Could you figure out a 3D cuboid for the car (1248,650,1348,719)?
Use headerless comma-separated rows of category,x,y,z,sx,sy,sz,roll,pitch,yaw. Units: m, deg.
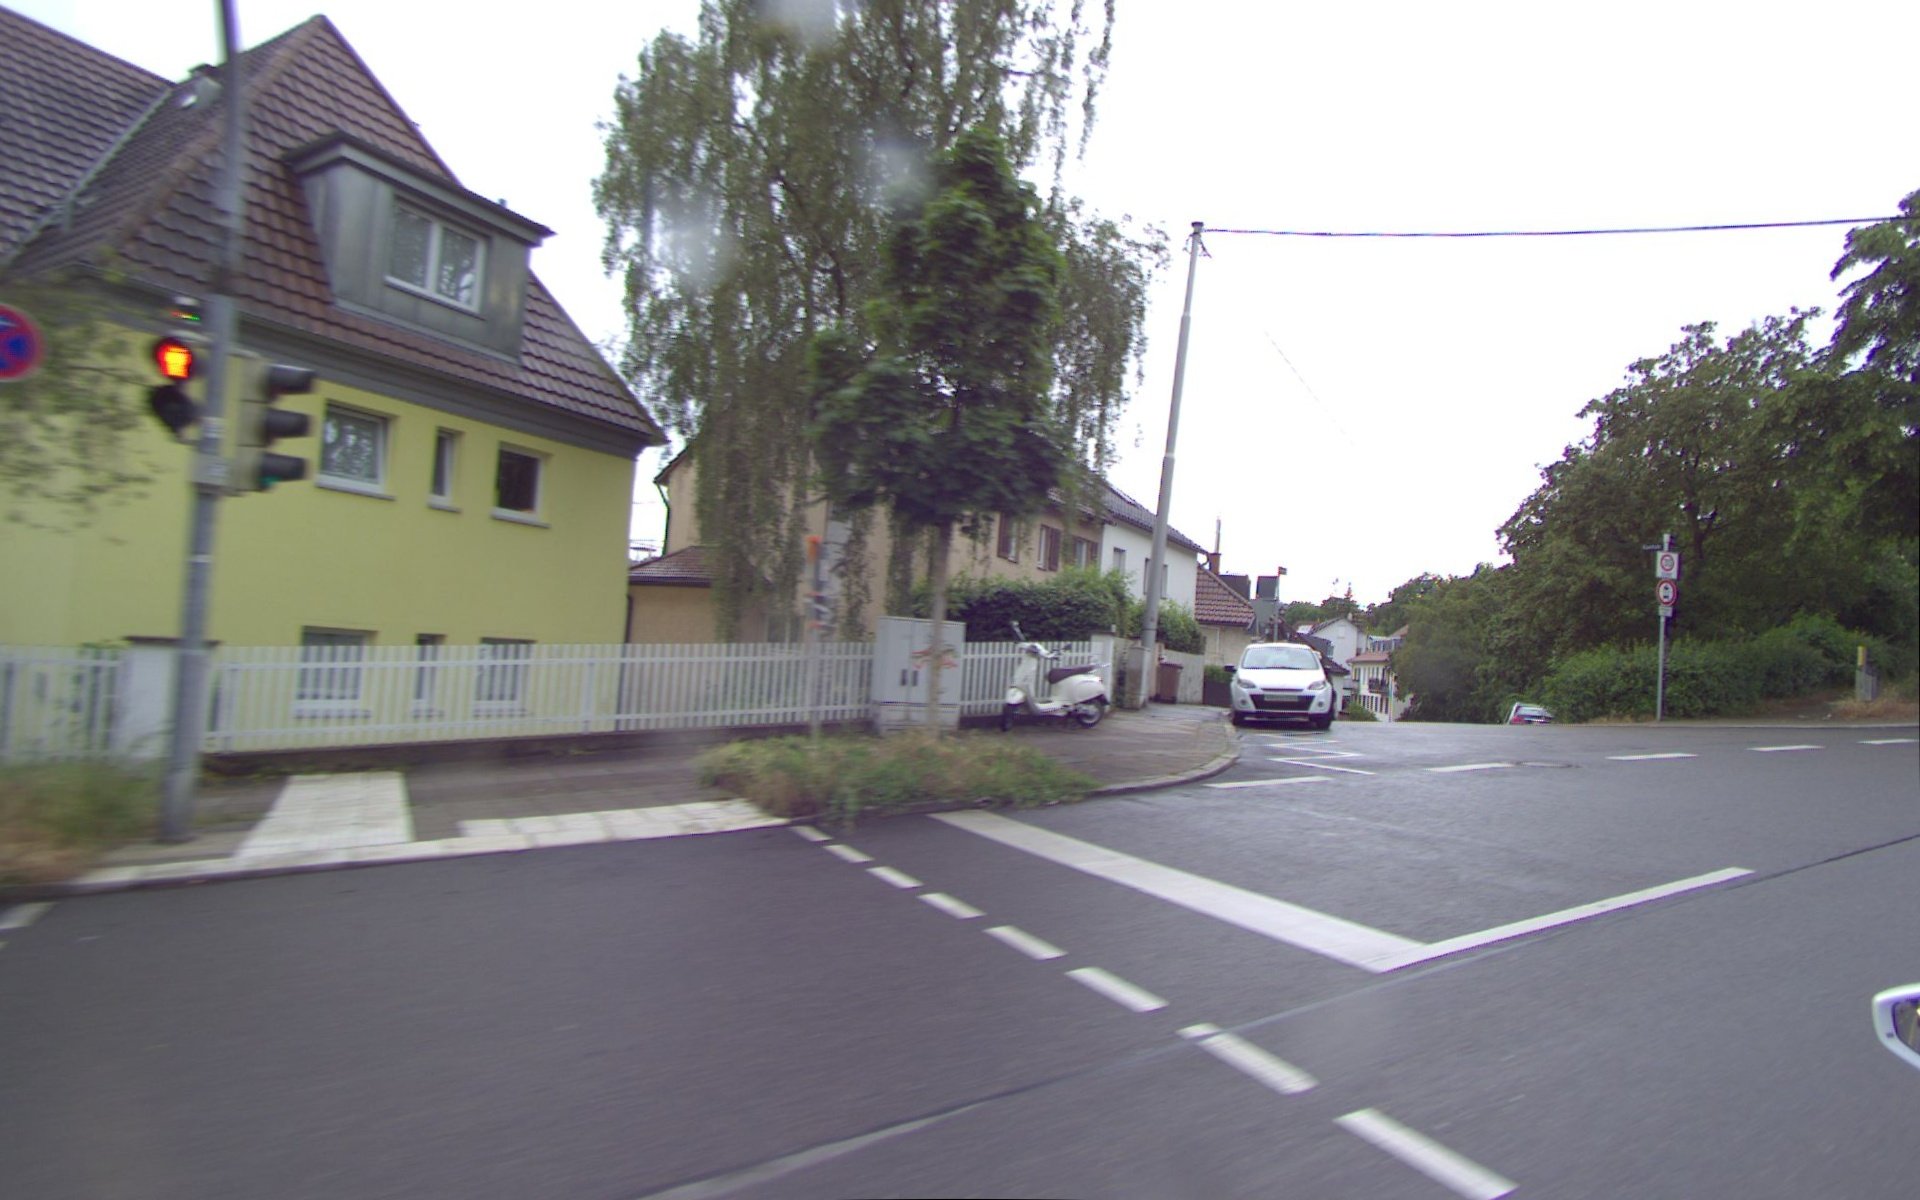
car,7.635,1.923,22.565,1.538,1.448,2.915,-2,-6,31

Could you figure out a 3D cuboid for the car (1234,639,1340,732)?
car,6.039,1.564,18.740,1.655,1.528,4.015,-1,-4,17

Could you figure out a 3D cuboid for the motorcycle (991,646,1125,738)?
motorcycle,1.333,1.201,13.492,1.824,1.146,0.587,2,-2,-34

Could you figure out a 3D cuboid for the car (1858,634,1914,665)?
car,64.719,3.443,70.286,1.964,2.040,3.993,-1,-2,29

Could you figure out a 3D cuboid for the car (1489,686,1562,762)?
car,19.645,4.214,34.798,1.724,2.040,3.989,8,2,33

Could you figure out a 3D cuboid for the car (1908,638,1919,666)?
car,61.908,3.305,63.566,1.966,1.750,3.990,-1,-3,32

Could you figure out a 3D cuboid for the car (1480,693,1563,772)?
car,16.781,3.900,30.182,1.813,1.772,3.996,7,1,27
